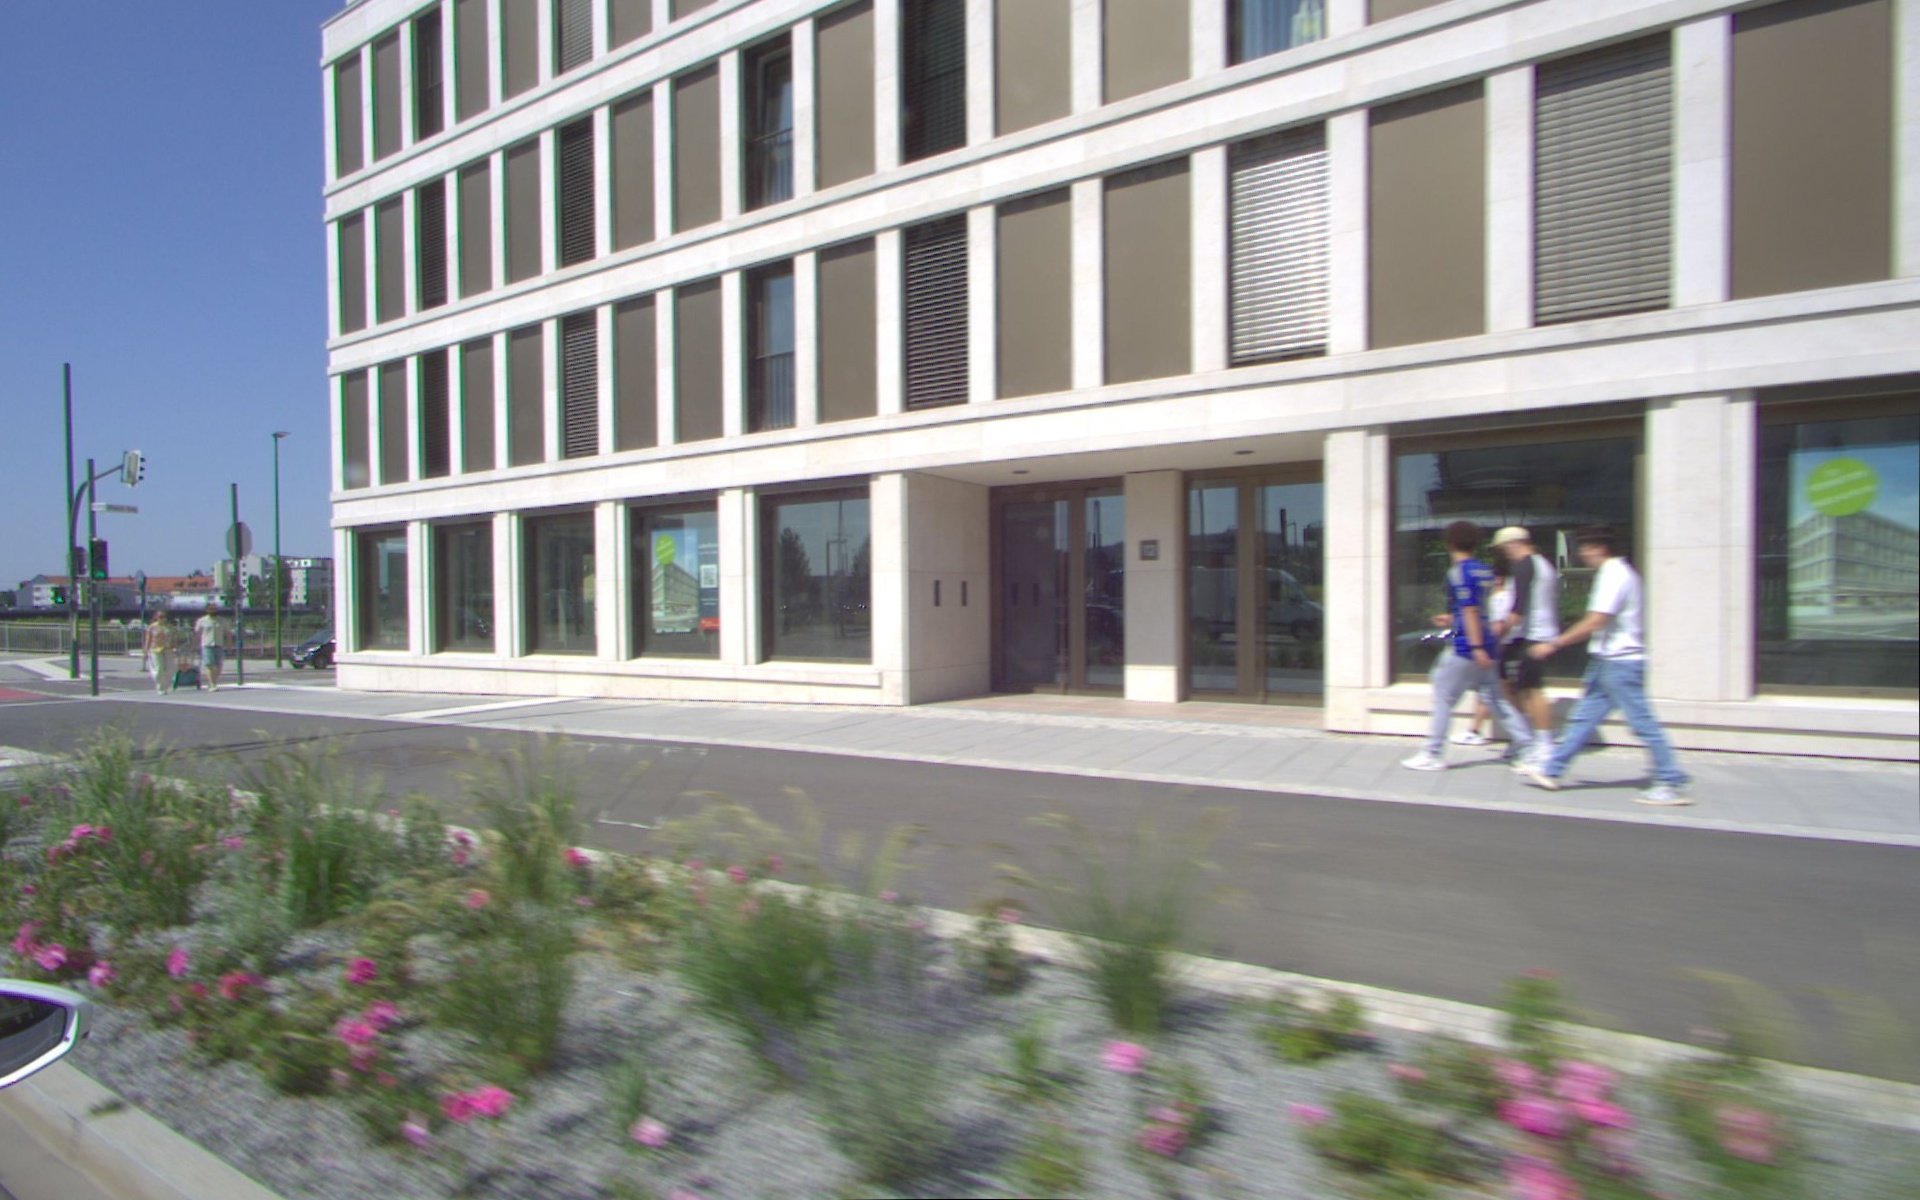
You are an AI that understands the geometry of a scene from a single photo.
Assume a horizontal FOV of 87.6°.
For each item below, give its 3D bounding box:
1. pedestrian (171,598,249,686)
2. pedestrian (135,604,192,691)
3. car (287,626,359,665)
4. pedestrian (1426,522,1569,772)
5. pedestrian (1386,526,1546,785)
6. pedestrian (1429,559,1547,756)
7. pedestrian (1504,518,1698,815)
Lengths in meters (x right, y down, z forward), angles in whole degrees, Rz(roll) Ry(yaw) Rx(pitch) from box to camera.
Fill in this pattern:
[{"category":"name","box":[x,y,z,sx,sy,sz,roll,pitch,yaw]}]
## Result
[{"category":"pedestrian","box":[-16.343,0.904,21.821,1.642,1.850,0.876,-1,-1,34]},{"category":"pedestrian","box":[-16.332,0.970,20.532,0.785,1.745,0.698,-1,-1,34]},{"category":"car","box":[-25.792,1.827,40.658,1.432,1.482,3.366,0,-2,-13]},{"category":"pedestrian","box":[4.214,0.350,7.835,0.913,1.807,0.822,-1,1,32]},{"category":"pedestrian","box":[3.701,0.388,7.327,0.983,1.763,0.575,-1,1,32]},{"category":"pedestrian","box":[4.555,0.468,8.621,0.830,1.586,0.766,-1,1,32]},{"category":"pedestrian","box":[4.049,0.402,6.373,0.983,1.742,0.575,-1,0,32]}]
